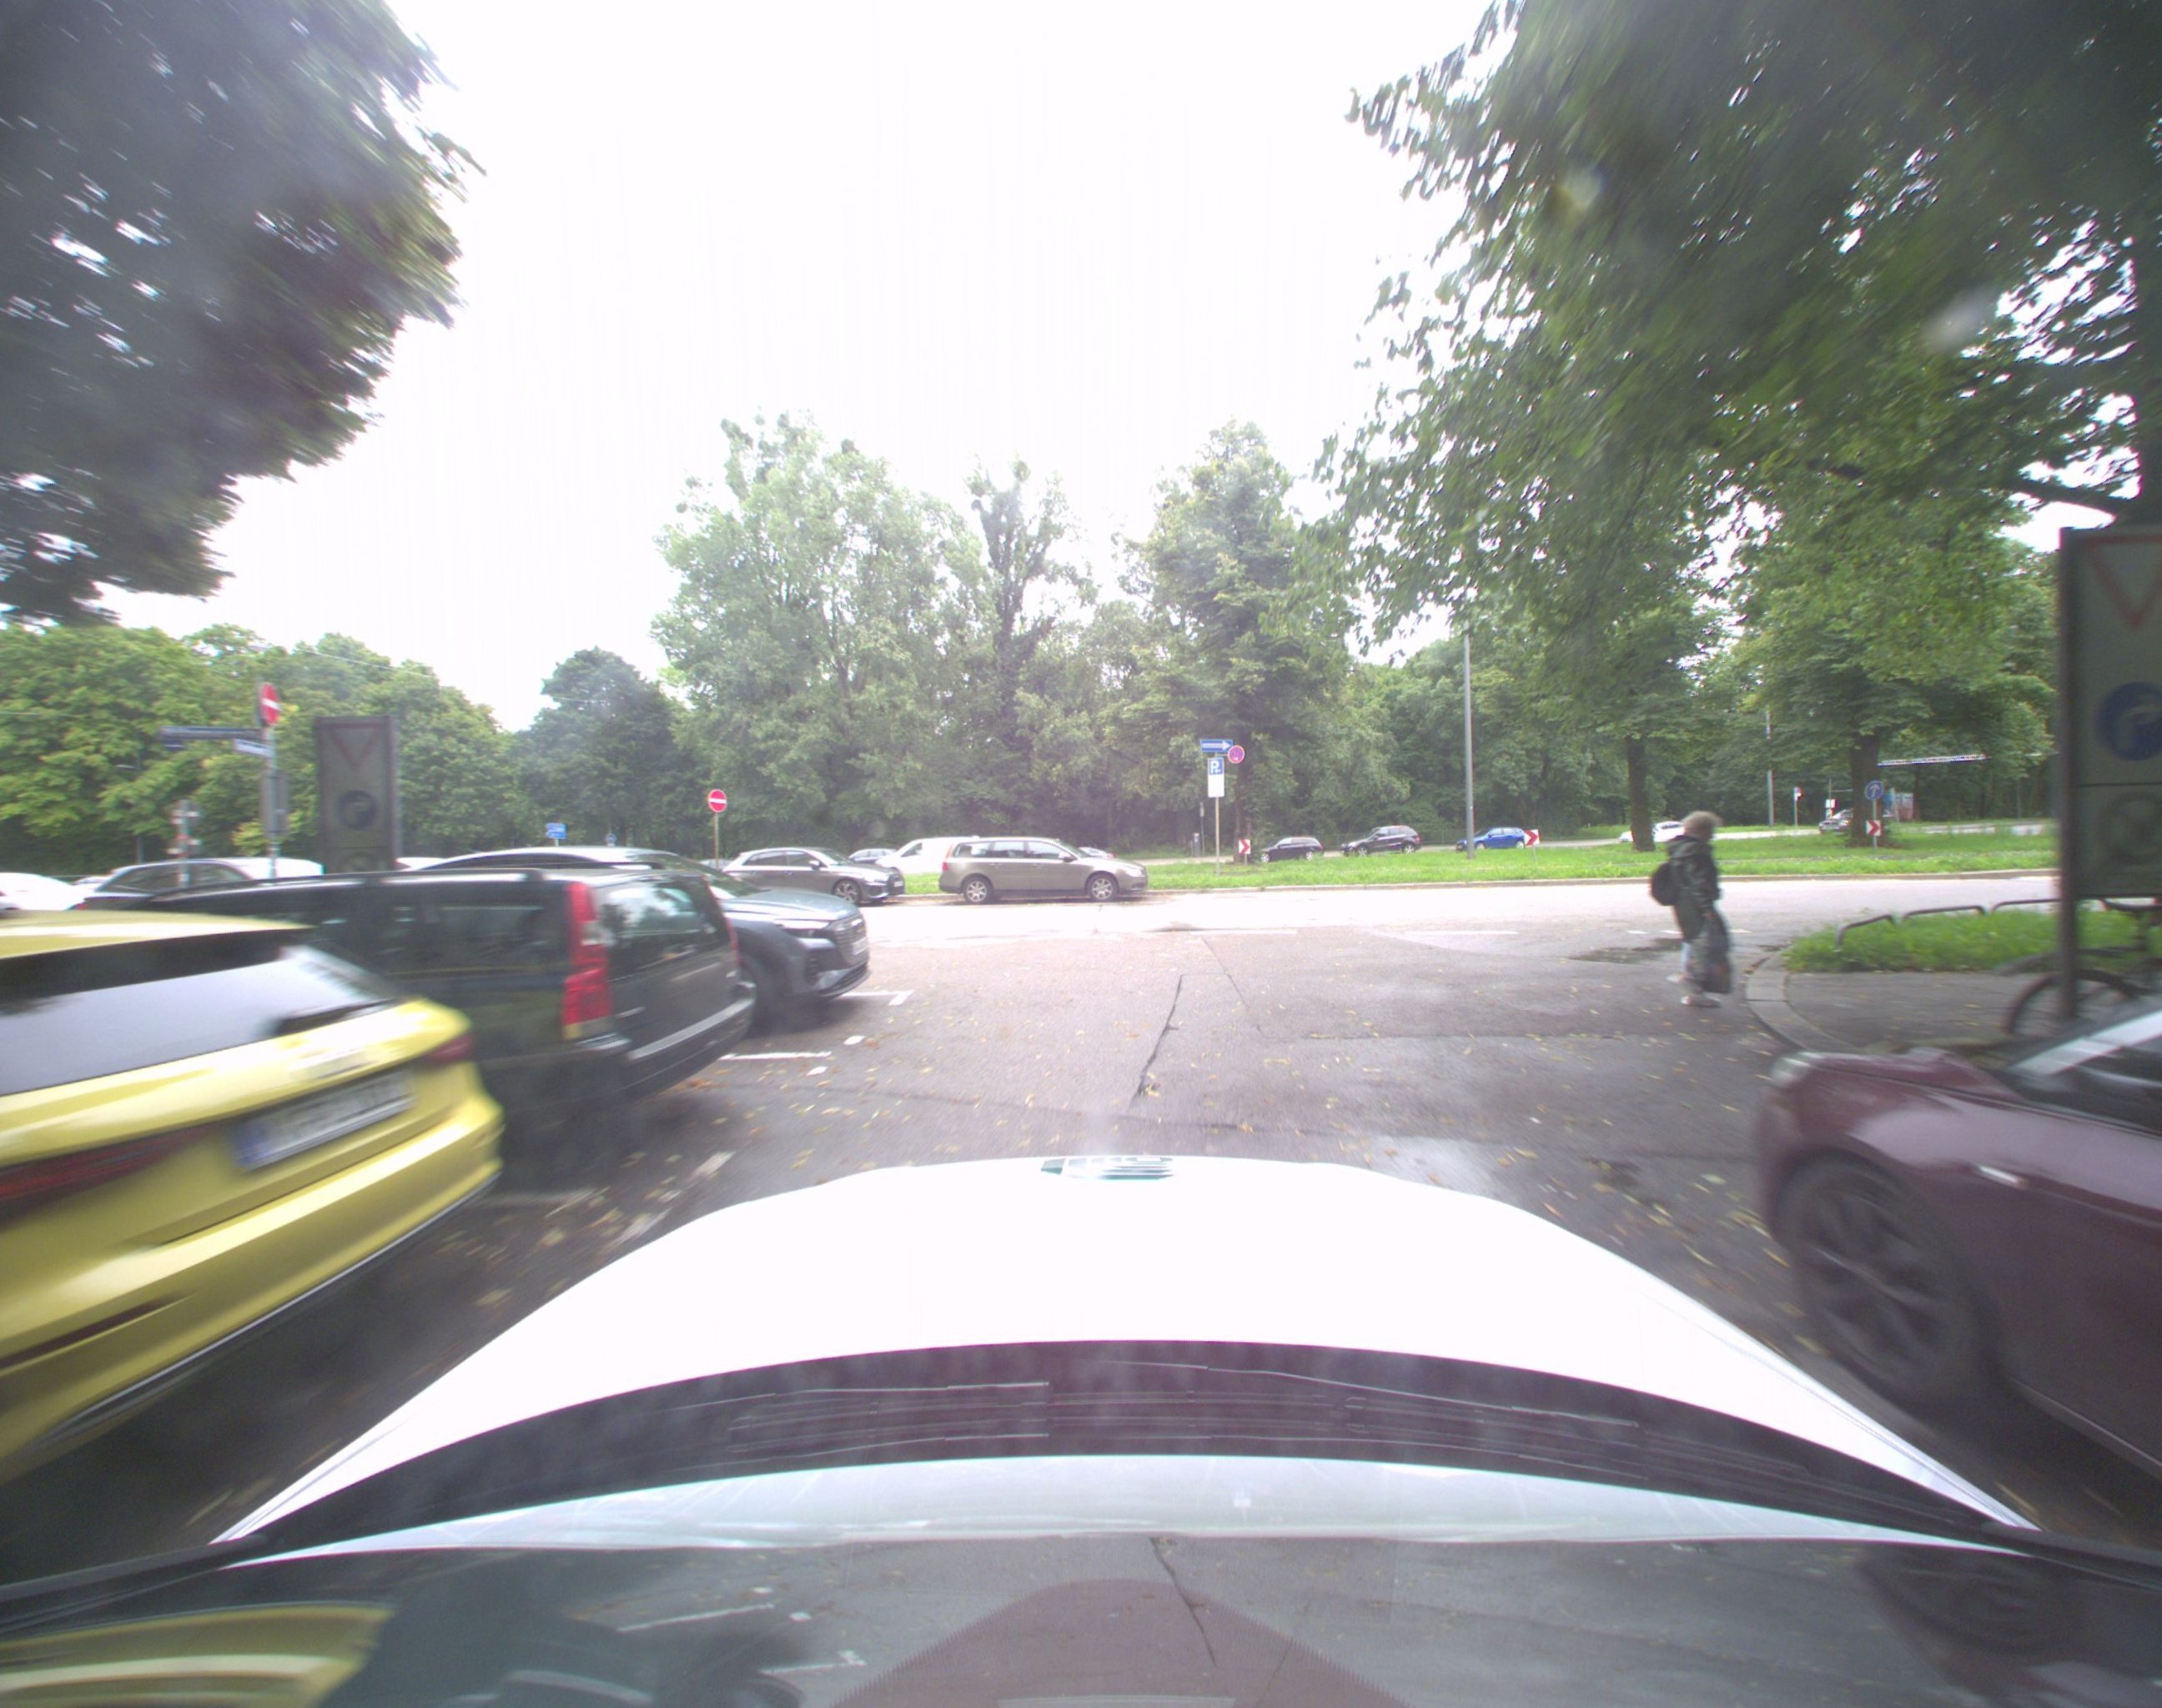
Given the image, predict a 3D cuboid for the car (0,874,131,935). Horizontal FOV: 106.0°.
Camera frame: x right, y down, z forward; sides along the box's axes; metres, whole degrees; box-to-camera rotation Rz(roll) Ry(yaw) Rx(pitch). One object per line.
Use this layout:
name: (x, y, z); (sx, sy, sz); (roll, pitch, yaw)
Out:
car: (-27.060, 1.298, 20.363); (4.337, 1.380, 1.768); (-2, 0, -3)

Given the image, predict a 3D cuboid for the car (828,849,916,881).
car: (-11.679, 0.603, 45.762); (4.425, 1.579, 1.929); (-2, 0, -4)

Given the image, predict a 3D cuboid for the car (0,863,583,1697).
car: (-3.877, 0.852, 2.220); (3.867, 1.441, 1.740); (-3, 1, -1)

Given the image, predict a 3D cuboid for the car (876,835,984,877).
car: (-6.707, 0.082, 36.546); (4.496, 1.668, 1.929); (-2, 0, -4)

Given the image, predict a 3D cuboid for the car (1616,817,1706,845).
car: (36.228, -1.429, 50.926); (4.502, 1.579, 1.926); (-2, 0, -9)

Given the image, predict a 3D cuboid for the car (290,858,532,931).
car: (-16.309, 0.964, 19.962); (4.385, 1.564, 2.004); (-1, 1, 6)

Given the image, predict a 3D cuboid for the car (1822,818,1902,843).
car: (51.840, -1.574, 54.077); (4.273, 1.471, 1.922); (-2, 0, -16)

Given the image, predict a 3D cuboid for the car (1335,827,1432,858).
car: (17.834, -0.670, 48.086); (5.025, 1.565, 1.995); (-2, 0, -8)

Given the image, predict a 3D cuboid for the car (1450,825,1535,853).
car: (24.884, -0.902, 49.306); (4.261, 1.471, 1.927); (-2, 0, -8)

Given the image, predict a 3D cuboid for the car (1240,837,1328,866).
car: (11.829, -0.146, 47.545); (4.578, 1.471, 1.927); (-2, 0, -8)

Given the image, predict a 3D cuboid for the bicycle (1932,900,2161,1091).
bicycle: (5.759, 0.754, 4.421); (1.741, 0.982, 0.274); (-2, 0, 9)

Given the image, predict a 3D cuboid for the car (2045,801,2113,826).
car: (66.960, -2.722, 54.637); (4.287, 1.471, 1.915); (-2, 1, -26)

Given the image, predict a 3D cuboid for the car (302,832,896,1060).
car: (-3.981, 0.704, 7.275); (4.148, 1.601, 1.736); (-3, 2, 0)

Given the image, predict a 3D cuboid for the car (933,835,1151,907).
car: (-0.816, 0.364, 18.874); (4.777, 1.495, 1.845); (-1, 1, 6)

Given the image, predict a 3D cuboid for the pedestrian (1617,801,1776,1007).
pedestrian: (5.113, 0.382, 6.823); (0.776, 1.617, 0.762); (-1, 3, 3)

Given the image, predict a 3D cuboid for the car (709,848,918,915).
car: (-6.292, 0.628, 19.378); (4.322, 1.380, 1.774); (-2, 0, 9)

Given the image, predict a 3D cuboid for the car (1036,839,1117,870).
car: (-0.276, 0.017, 46.161); (4.422, 1.579, 1.931); (-2, 0, -2)

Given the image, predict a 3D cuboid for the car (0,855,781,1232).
car: (-3.968, 0.848, 4.371); (3.973, 1.464, 1.736); (-3, 1, 0)

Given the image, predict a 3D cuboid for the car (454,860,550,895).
car: (-32.143, 1.299, 45.283); (3.972, 1.693, 1.823); (-2, 0, 1)

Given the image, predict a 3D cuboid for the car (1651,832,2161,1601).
car: (2.890, 0.705, 1.247); (1.640, 1.474, 3.647); (-1, 1, 4)

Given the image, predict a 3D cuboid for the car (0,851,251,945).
car: (-17.000, 0.725, 13.565); (4.337, 1.380, 1.768); (-2, 0, -3)
